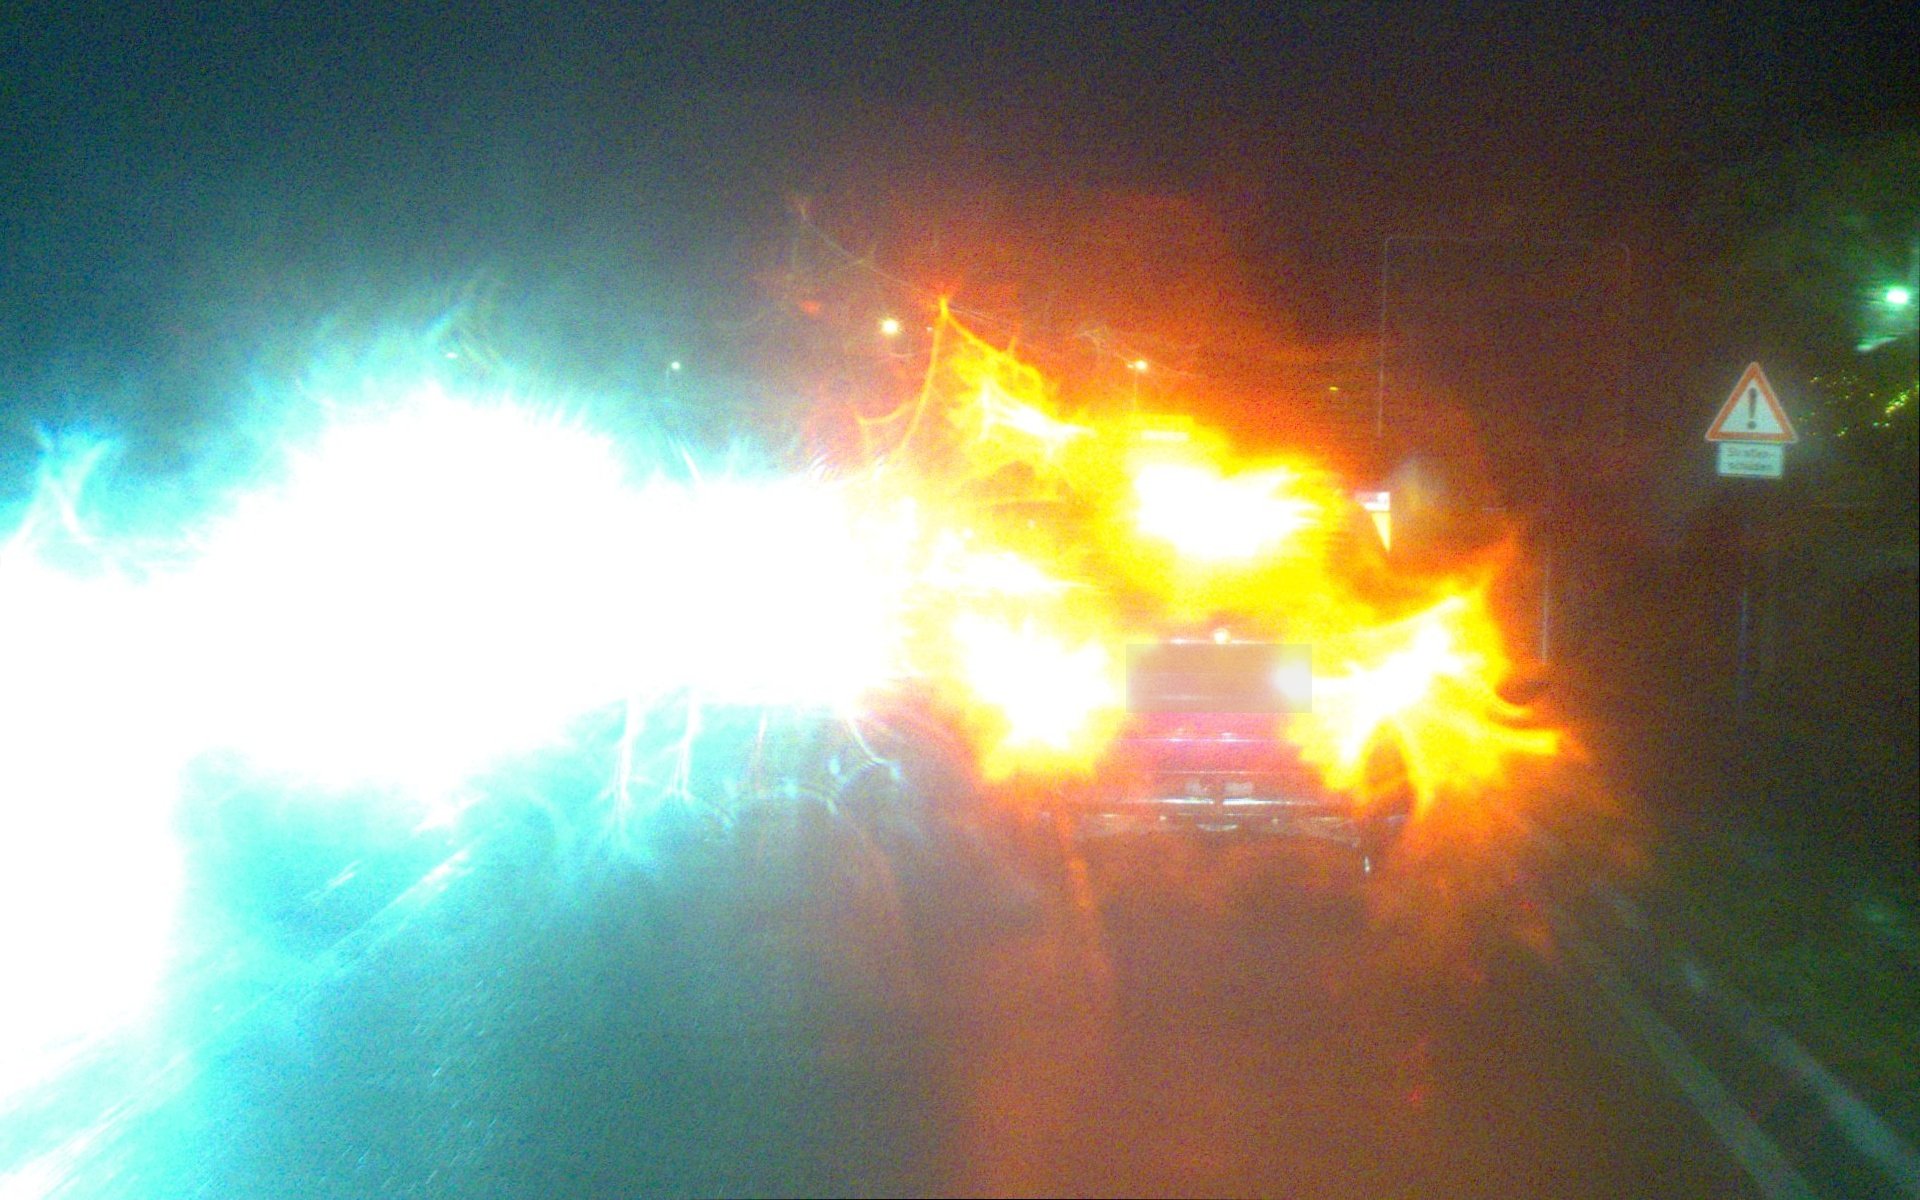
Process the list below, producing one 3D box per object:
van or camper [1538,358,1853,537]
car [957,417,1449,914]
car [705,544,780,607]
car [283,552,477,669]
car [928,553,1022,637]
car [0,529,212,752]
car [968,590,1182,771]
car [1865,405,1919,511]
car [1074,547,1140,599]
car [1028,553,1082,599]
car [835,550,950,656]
[{"bbox_3d":[12.534,-2.537,59.170,2.579,2.898,6.361,0,1,-16],"label":"van or camper"},{"bbox_3d":[1.039,0.221,15.931,1.942,1.965,4.218,1,1,2],"label":"car"},{"bbox_3d":[-5.271,-0.606,83.778,1.694,1.429,4.294,1,1,-2],"label":"car"},{"bbox_3d":[-7.679,0.102,45.889,1.918,1.439,4.546,1,1,-2],"label":"car"},{"bbox_3d":[0.337,-0.124,70.450,1.709,1.632,3.730,0,1,4],"label":"car"},{"bbox_3d":[-6.972,0.212,25.020,2.077,1.444,4.992,1,1,-2],"label":"car"},{"bbox_3d":[1.116,0.678,31.439,1.768,1.445,4.217,1,1,4],"label":"car"},{"bbox_3d":[15.638,-2.173,52.572,1.635,1.612,4.136,1,1,-15],"label":"car"},{"bbox_3d":[4.174,-0.749,97.210,1.663,1.445,4.049,0,0,5],"label":"car"},{"bbox_3d":[3.100,-0.761,111.368,1.663,1.445,4.049,1,0,3],"label":"car"},{"bbox_3d":[-1.066,0.036,55.959,1.694,1.624,3.852,1,0,1],"label":"car"}]
